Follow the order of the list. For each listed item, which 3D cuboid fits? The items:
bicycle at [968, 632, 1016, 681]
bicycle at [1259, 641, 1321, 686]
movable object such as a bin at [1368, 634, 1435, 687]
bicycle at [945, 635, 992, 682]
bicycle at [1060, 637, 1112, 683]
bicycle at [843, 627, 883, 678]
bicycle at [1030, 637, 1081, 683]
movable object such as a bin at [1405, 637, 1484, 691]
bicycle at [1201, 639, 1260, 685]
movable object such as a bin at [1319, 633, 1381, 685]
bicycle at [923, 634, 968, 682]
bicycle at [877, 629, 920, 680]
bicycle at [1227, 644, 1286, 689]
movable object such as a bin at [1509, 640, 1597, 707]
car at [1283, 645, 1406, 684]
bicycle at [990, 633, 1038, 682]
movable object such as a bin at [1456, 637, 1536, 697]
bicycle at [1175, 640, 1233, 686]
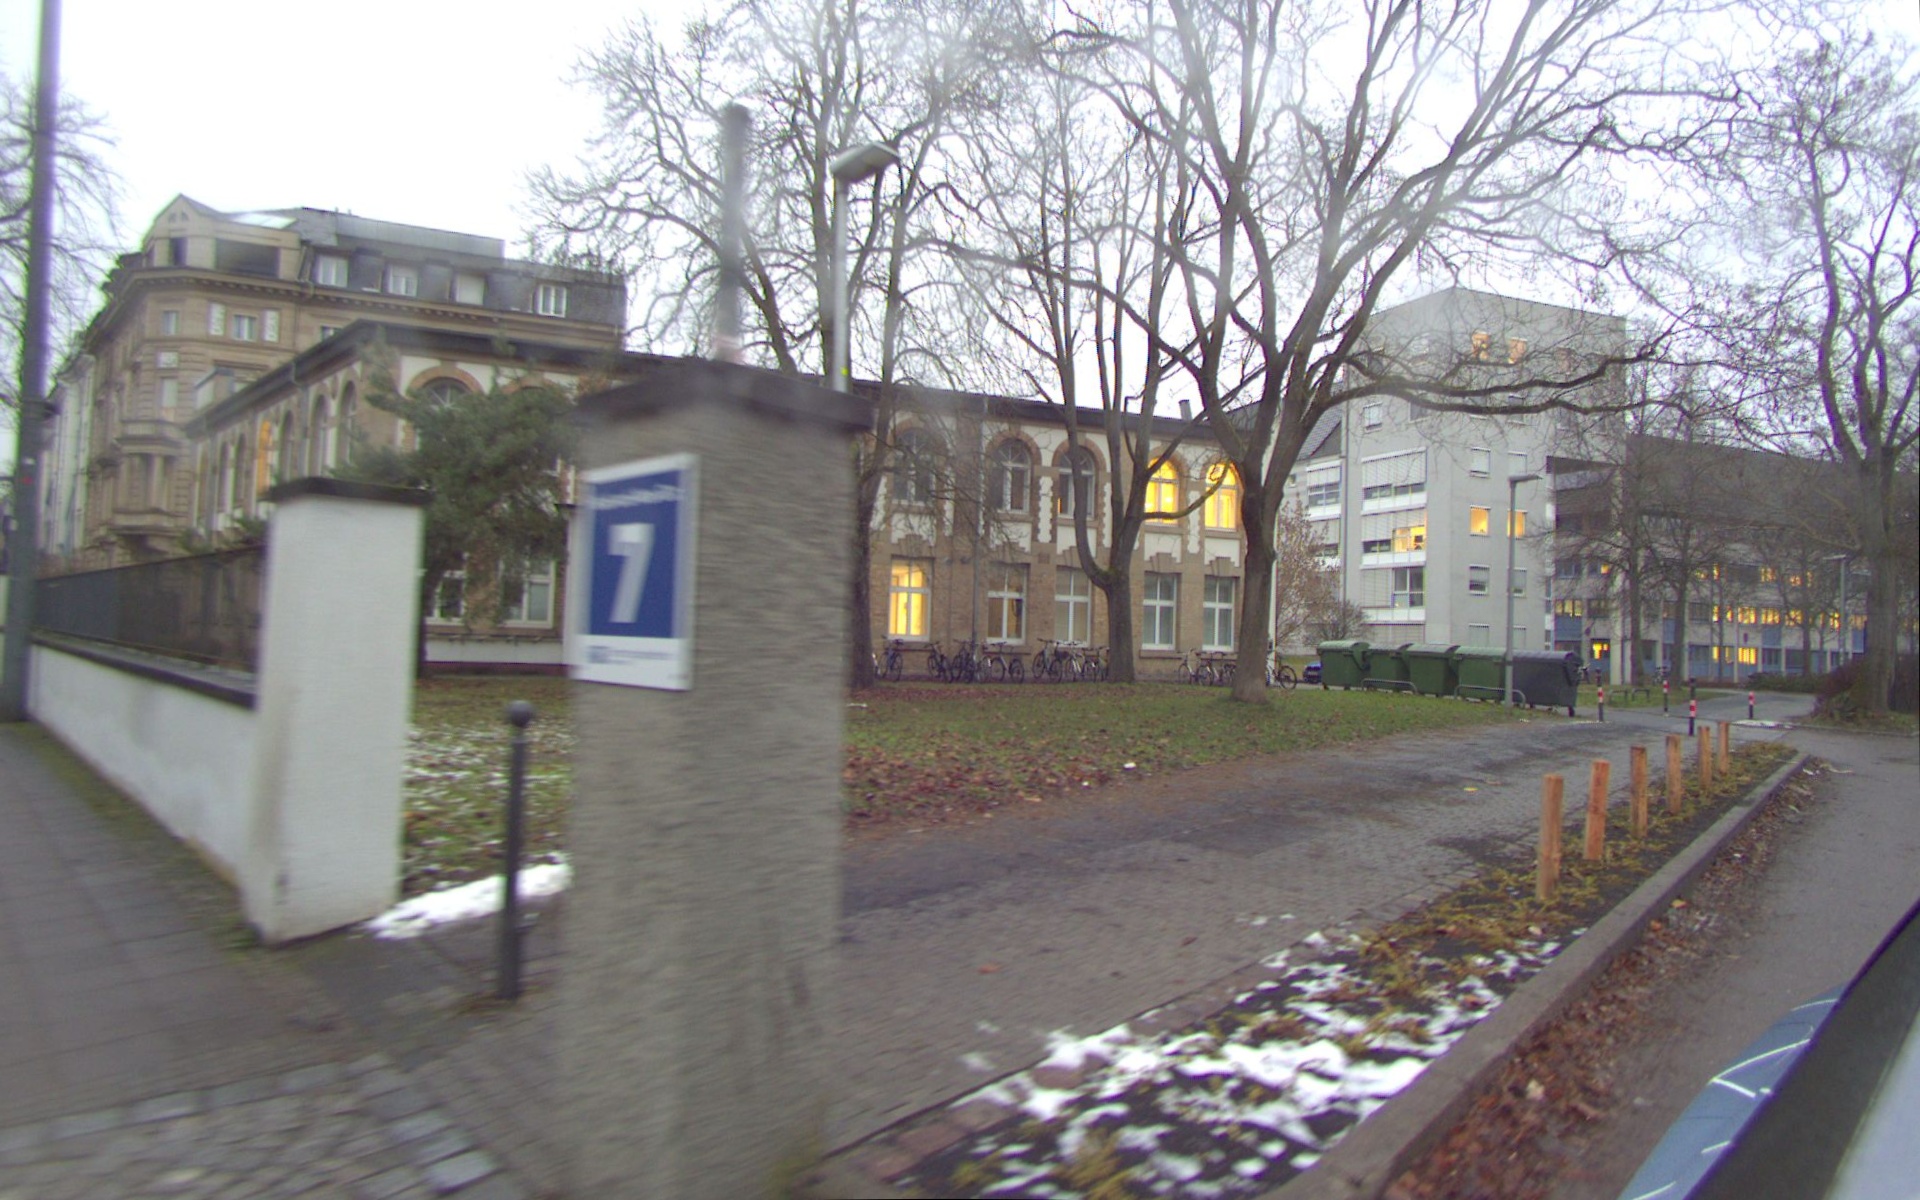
[{"bbox_3d":[0.821,1.454,26.389,0.561,1.172,2.146,2,-1,-16],"label":"bicycle"},{"bbox_3d":[9.516,1.808,29.302,0.561,1.172,2.146,2,-1,-16],"label":"bicycle"},{"bbox_3d":[11.465,1.566,26.322,0.967,1.296,1.254,3,-1,-23],"label":"movable object such as a bin"},{"bbox_3d":[0.203,1.489,26.206,0.561,1.029,2.146,2,1,-16],"label":"bicycle"},{"bbox_3d":[3.374,1.600,27.310,0.561,1.125,2.146,2,-1,-16],"label":"bicycle"},{"bbox_3d":[-2.427,1.273,25.165,0.561,1.172,2.146,2,-1,-16],"label":"bicycle"},{"bbox_3d":[2.533,1.577,27.007,0.561,1.106,2.146,2,-1,-16],"label":"bicycle"},{"bbox_3d":[11.939,1.559,24.974,0.967,1.241,1.441,3,-1,-23],"label":"movable object such as a bin"},{"bbox_3d":[7.663,1.749,28.797,0.561,1.172,2.146,2,-1,-16],"label":"bicycle"},{"bbox_3d":[10.644,1.604,27.651,0.967,1.331,1.266,3,-1,-23],"label":"movable object such as a bin"},{"bbox_3d":[-0.402,1.457,26.003,0.561,1.063,2.146,2,0,-16],"label":"bicycle"},{"bbox_3d":[-1.561,1.342,25.439,0.561,1.172,2.146,2,-1,-16],"label":"bicycle"},{"bbox_3d":[8.534,1.905,29.222,0.561,1.172,2.146,2,-1,-16],"label":"bicycle"},{"bbox_3d":[13.041,1.598,22.277,1.043,1.333,1.324,3,0,-36],"label":"movable object such as a bin"},{"bbox_3d":[14.687,2.448,38.724,3.916,1.297,2.004,2,-1,-13],"label":"car"},{"bbox_3d":[1.397,1.496,26.577,0.561,1.172,2.146,2,-1,-16],"label":"bicycle"},{"bbox_3d":[12.478,1.549,23.593,0.967,1.331,1.310,3,-1,-23],"label":"movable object such as a bin"},{"bbox_3d":[6.848,1.746,28.487,0.561,1.172,2.146,2,-1,-16],"label":"bicycle"}]
